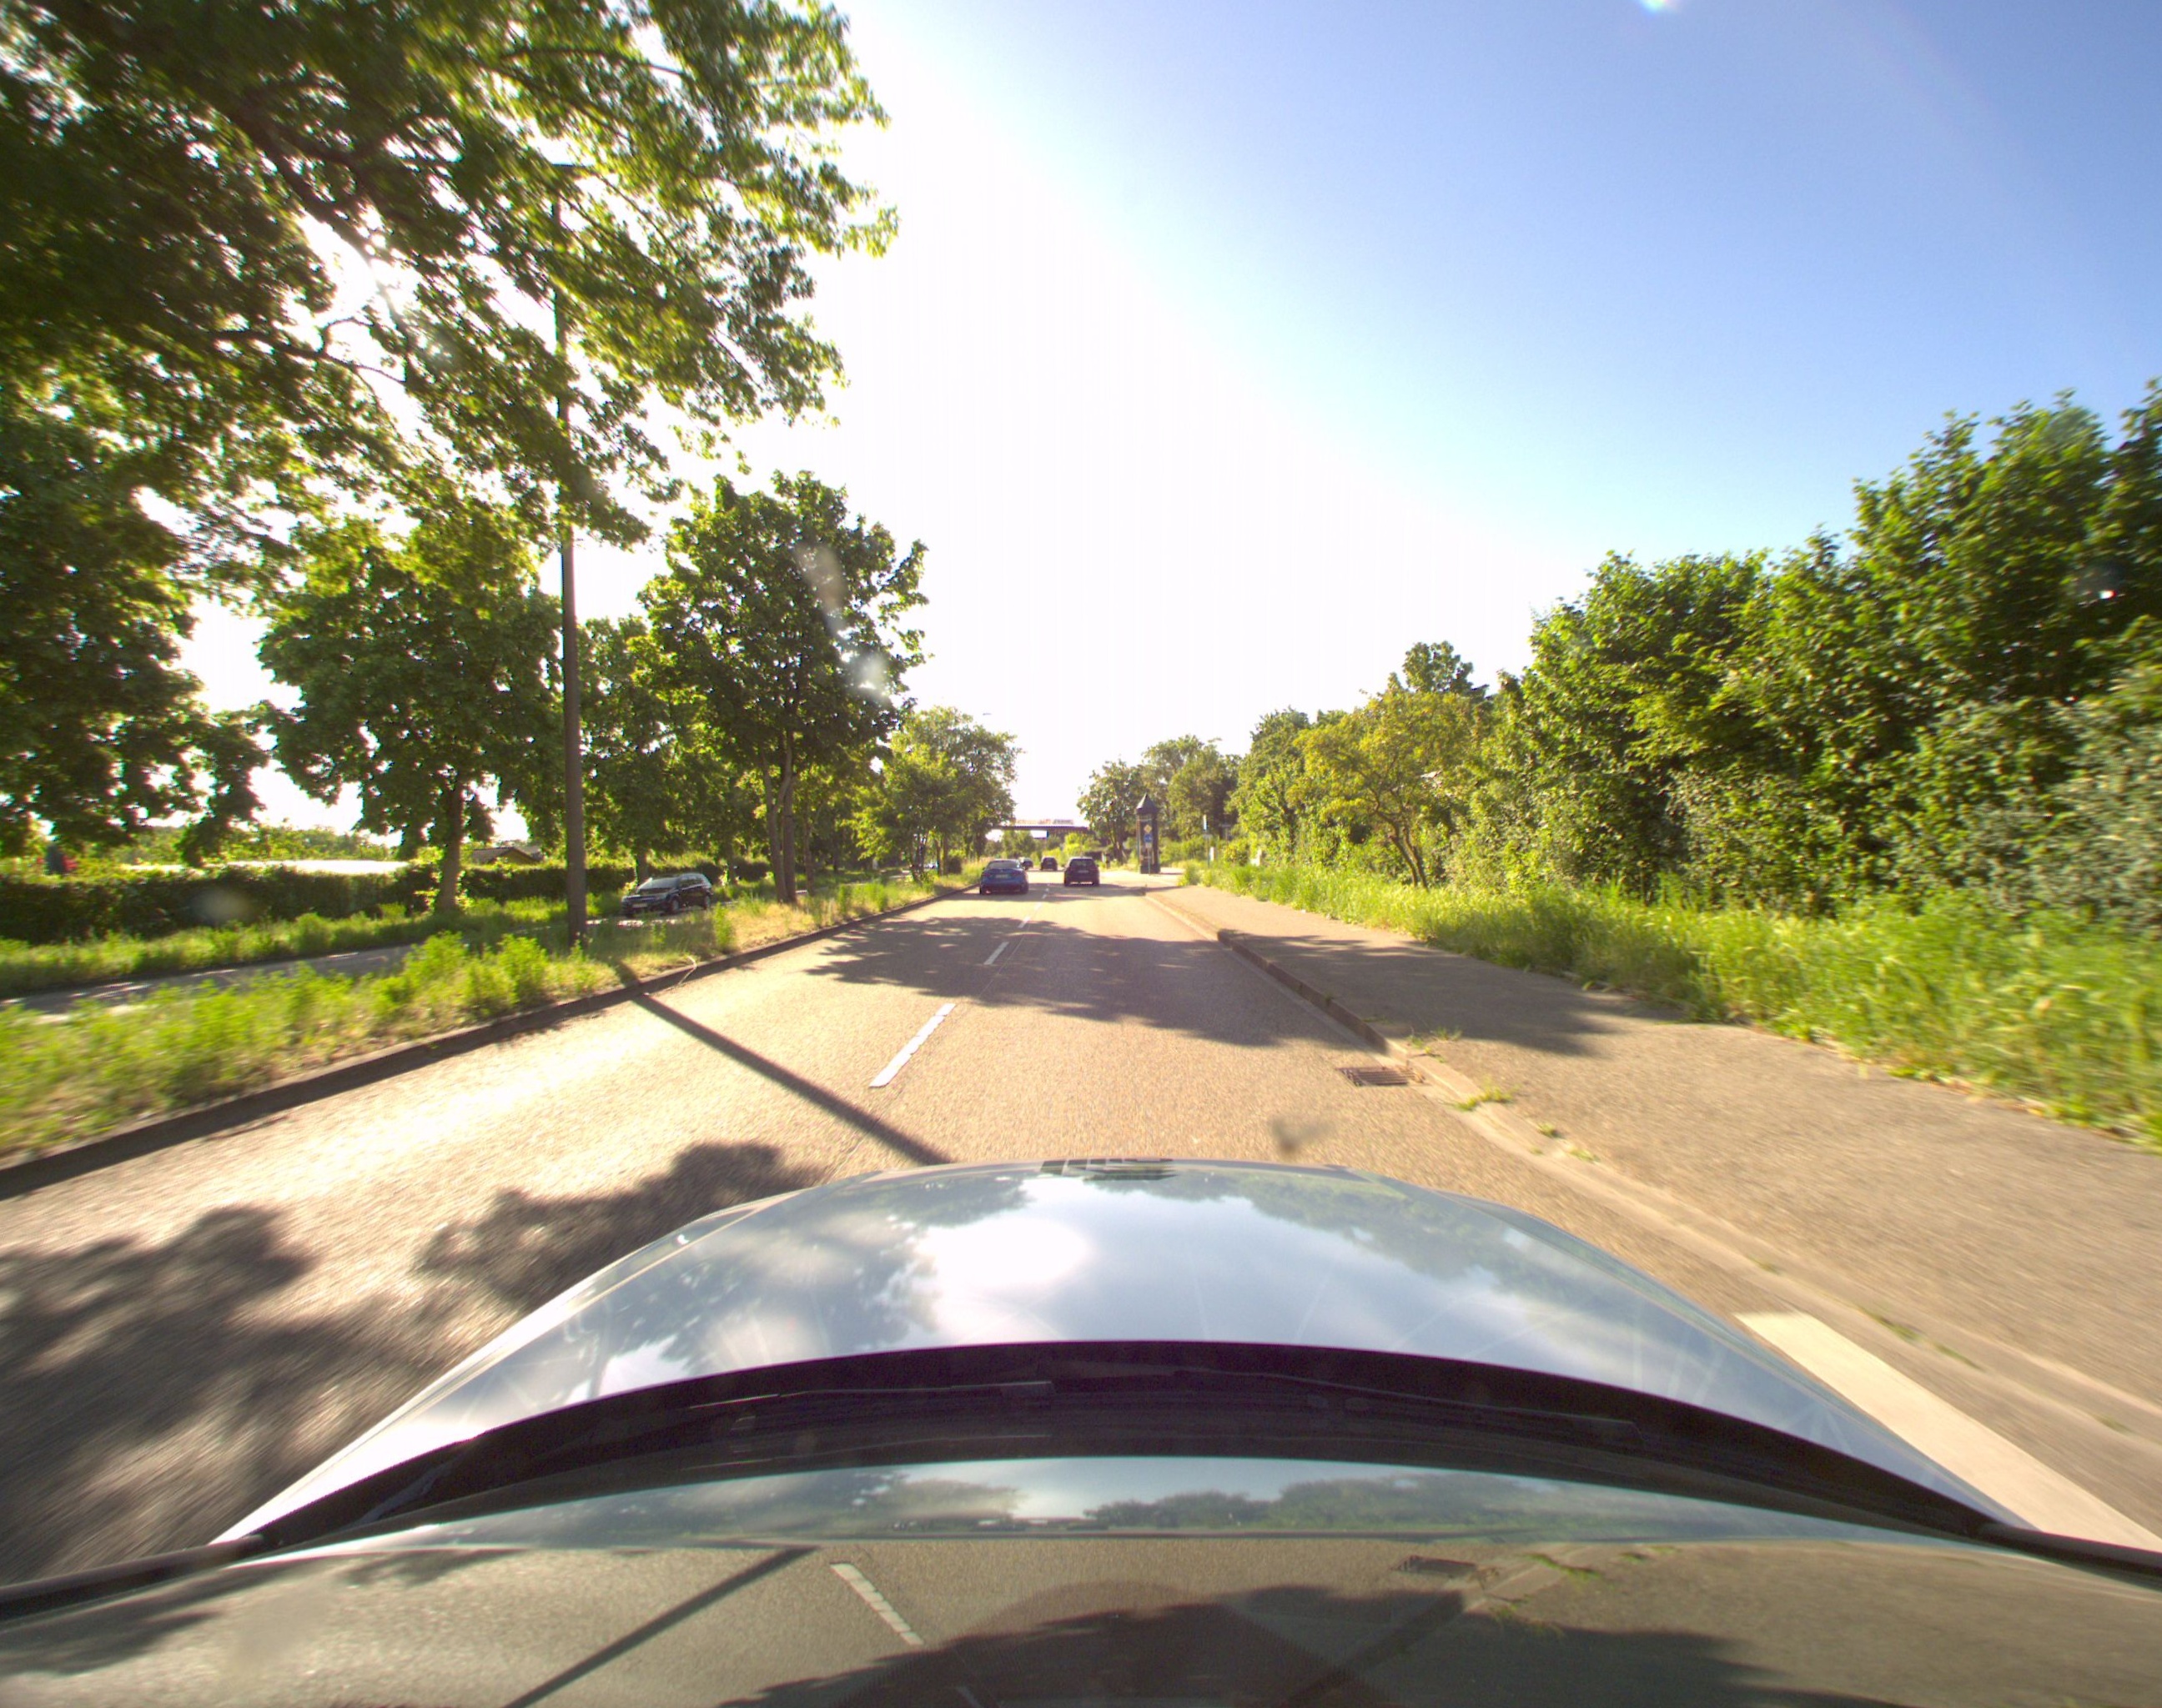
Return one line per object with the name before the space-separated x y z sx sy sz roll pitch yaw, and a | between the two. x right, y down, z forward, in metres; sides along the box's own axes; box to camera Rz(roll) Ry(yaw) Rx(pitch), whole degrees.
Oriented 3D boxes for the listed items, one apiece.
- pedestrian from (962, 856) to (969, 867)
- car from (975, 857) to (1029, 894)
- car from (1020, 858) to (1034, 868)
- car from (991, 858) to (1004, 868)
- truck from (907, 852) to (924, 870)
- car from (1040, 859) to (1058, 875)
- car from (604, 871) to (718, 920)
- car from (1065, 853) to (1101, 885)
pedestrian | -18.255 1.131 128.819 0.625 1.696 0.947 -2 0 19
car | -3.232 0.845 33.994 1.990 1.405 3.996 -1 0 -3
car | -8.096 1.380 121.838 1.897 1.356 3.990 -2 0 -7
car | -12.948 1.374 126.716 1.897 1.356 3.990 -2 0 -7
truck | -25.348 1.111 124.396 2.175 2.512 5.715 -4 0 -13
car | -3.530 1.398 88.412 1.741 1.597 4.167 -1 0 -5
car | -15.202 1.434 29.842 1.688 1.436 4.936 -4 0 -2
car | 0.108 0.767 41.859 1.755 1.559 3.998 0 -1 0
